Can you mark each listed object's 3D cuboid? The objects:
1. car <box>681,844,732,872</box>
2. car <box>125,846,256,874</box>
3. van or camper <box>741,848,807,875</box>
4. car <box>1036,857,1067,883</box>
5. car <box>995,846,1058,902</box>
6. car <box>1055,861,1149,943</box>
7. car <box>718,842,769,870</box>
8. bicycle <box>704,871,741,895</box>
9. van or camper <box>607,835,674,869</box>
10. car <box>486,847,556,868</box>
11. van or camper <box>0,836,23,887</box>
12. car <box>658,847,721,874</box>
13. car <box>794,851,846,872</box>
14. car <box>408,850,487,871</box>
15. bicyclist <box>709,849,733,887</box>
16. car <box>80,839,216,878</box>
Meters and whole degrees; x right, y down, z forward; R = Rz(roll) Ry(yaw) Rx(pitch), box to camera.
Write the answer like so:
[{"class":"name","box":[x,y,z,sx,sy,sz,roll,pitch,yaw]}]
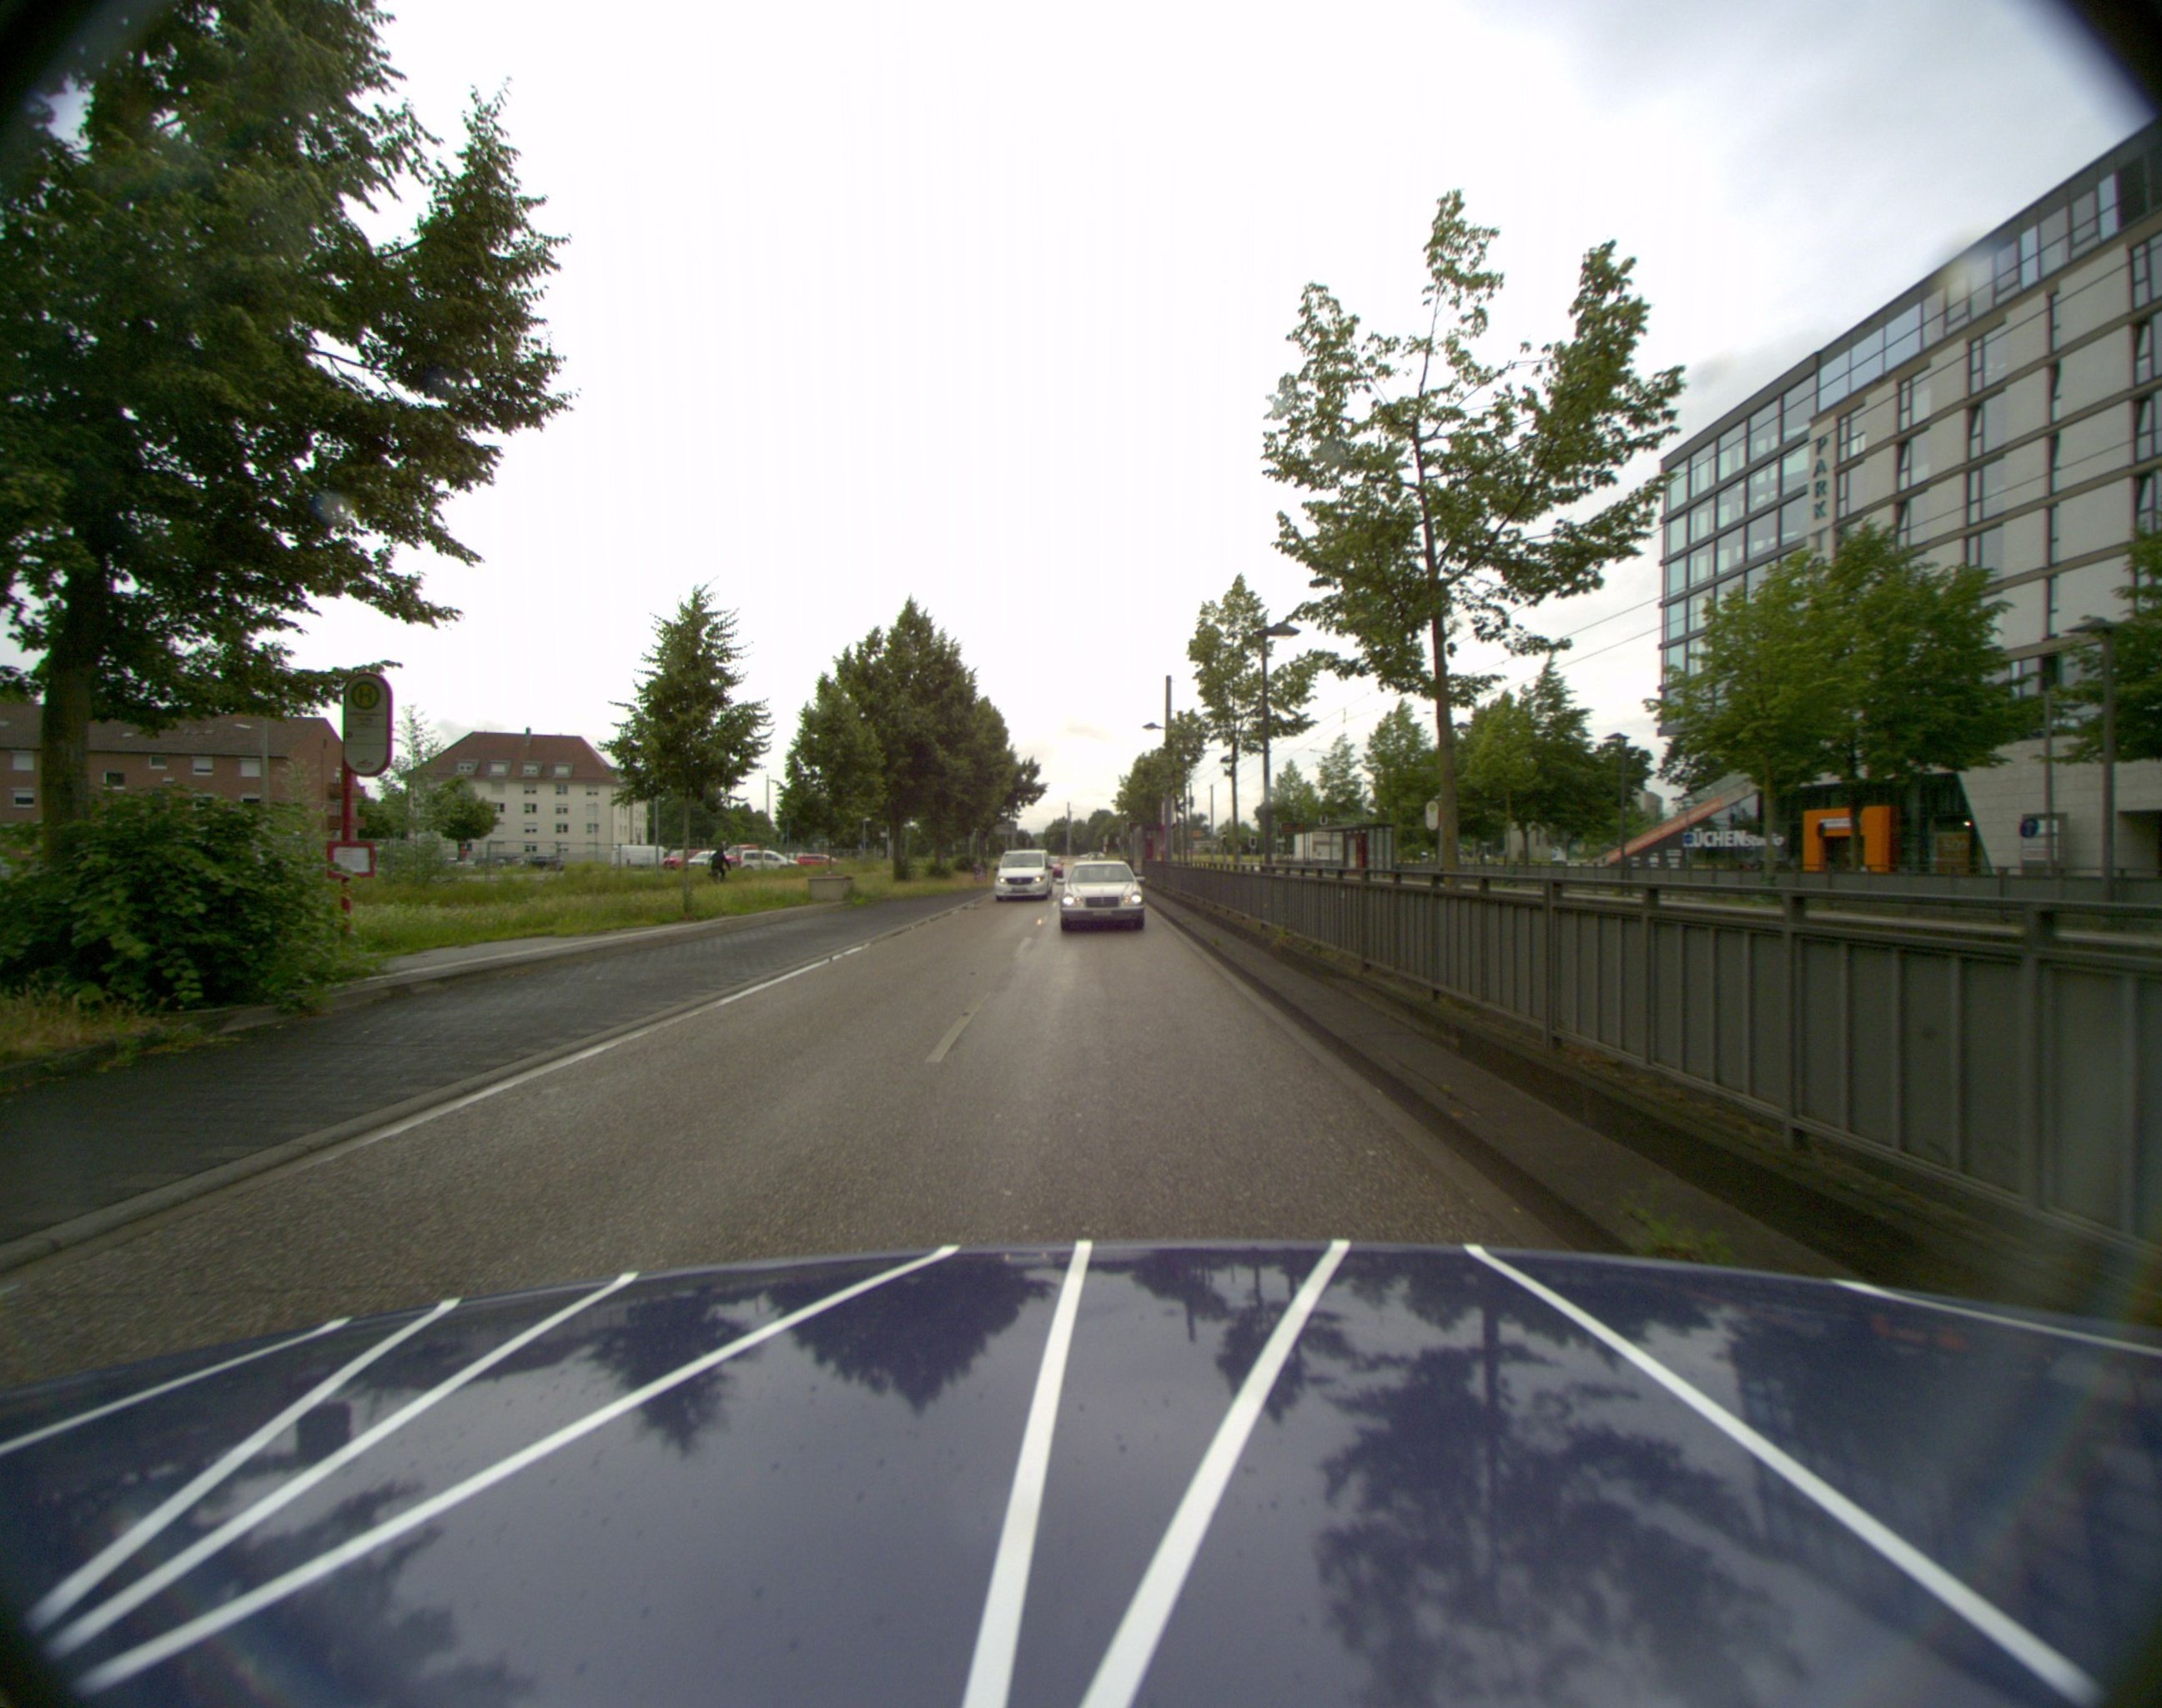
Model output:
[{"class":"car","box":[-32.723,0.339,66.565,1.997,2.297,4.003,-1,0,9]},{"class":"car","box":[-47.991,0.283,41.135,2.000,1.379,4.565,-2,0,-7]},{"class":"van or camper","box":[-23.814,0.577,59.069,4.334,2.002,1.860,-1,0,-5]},{"class":"car","box":[-1.944,1.035,51.166,1.799,1.603,4.245,1,1,2]},{"class":"car","box":[-2.017,0.695,29.624,1.972,1.968,5.091,0,1,1]},{"class":"car","box":[0.441,0.911,16.466,1.738,1.451,4.607,-1,0,1]},{"class":"car","box":[-29.251,0.144,65.919,1.996,2.297,4.004,-1,0,14]},{"class":"bicycle","box":[-14.410,1.146,30.563,0.548,0.873,1.745,0,0,4]},{"class":"van or camper","box":[-41.815,-0.214,72.265,2.343,3.017,5.515,-2,1,12]},{"class":"car","box":[-45.202,0.242,61.385,1.995,1.543,4.007,-2,1,27]},{"class":"van or camper","box":[-54.279,0.400,35.756,1.919,2.521,5.258,-1,0,-6]},{"class":"car","box":[-35.123,0.566,68.380,2.195,2.297,5.450,-1,0,9]},{"class":"car","box":[-22.663,0.665,66.036,3.802,1.696,1.680,-2,1,6]},{"class":"car","box":[-47.582,0.463,57.144,1.995,1.444,4.007,-2,1,27]},{"class":"bicyclist","box":[-14.422,0.544,30.456,0.537,1.497,0.841,0,1,4]},{"class":"car","box":[-55.226,0.246,45.140,2.278,2.207,4.758,-1,0,-3]}]
